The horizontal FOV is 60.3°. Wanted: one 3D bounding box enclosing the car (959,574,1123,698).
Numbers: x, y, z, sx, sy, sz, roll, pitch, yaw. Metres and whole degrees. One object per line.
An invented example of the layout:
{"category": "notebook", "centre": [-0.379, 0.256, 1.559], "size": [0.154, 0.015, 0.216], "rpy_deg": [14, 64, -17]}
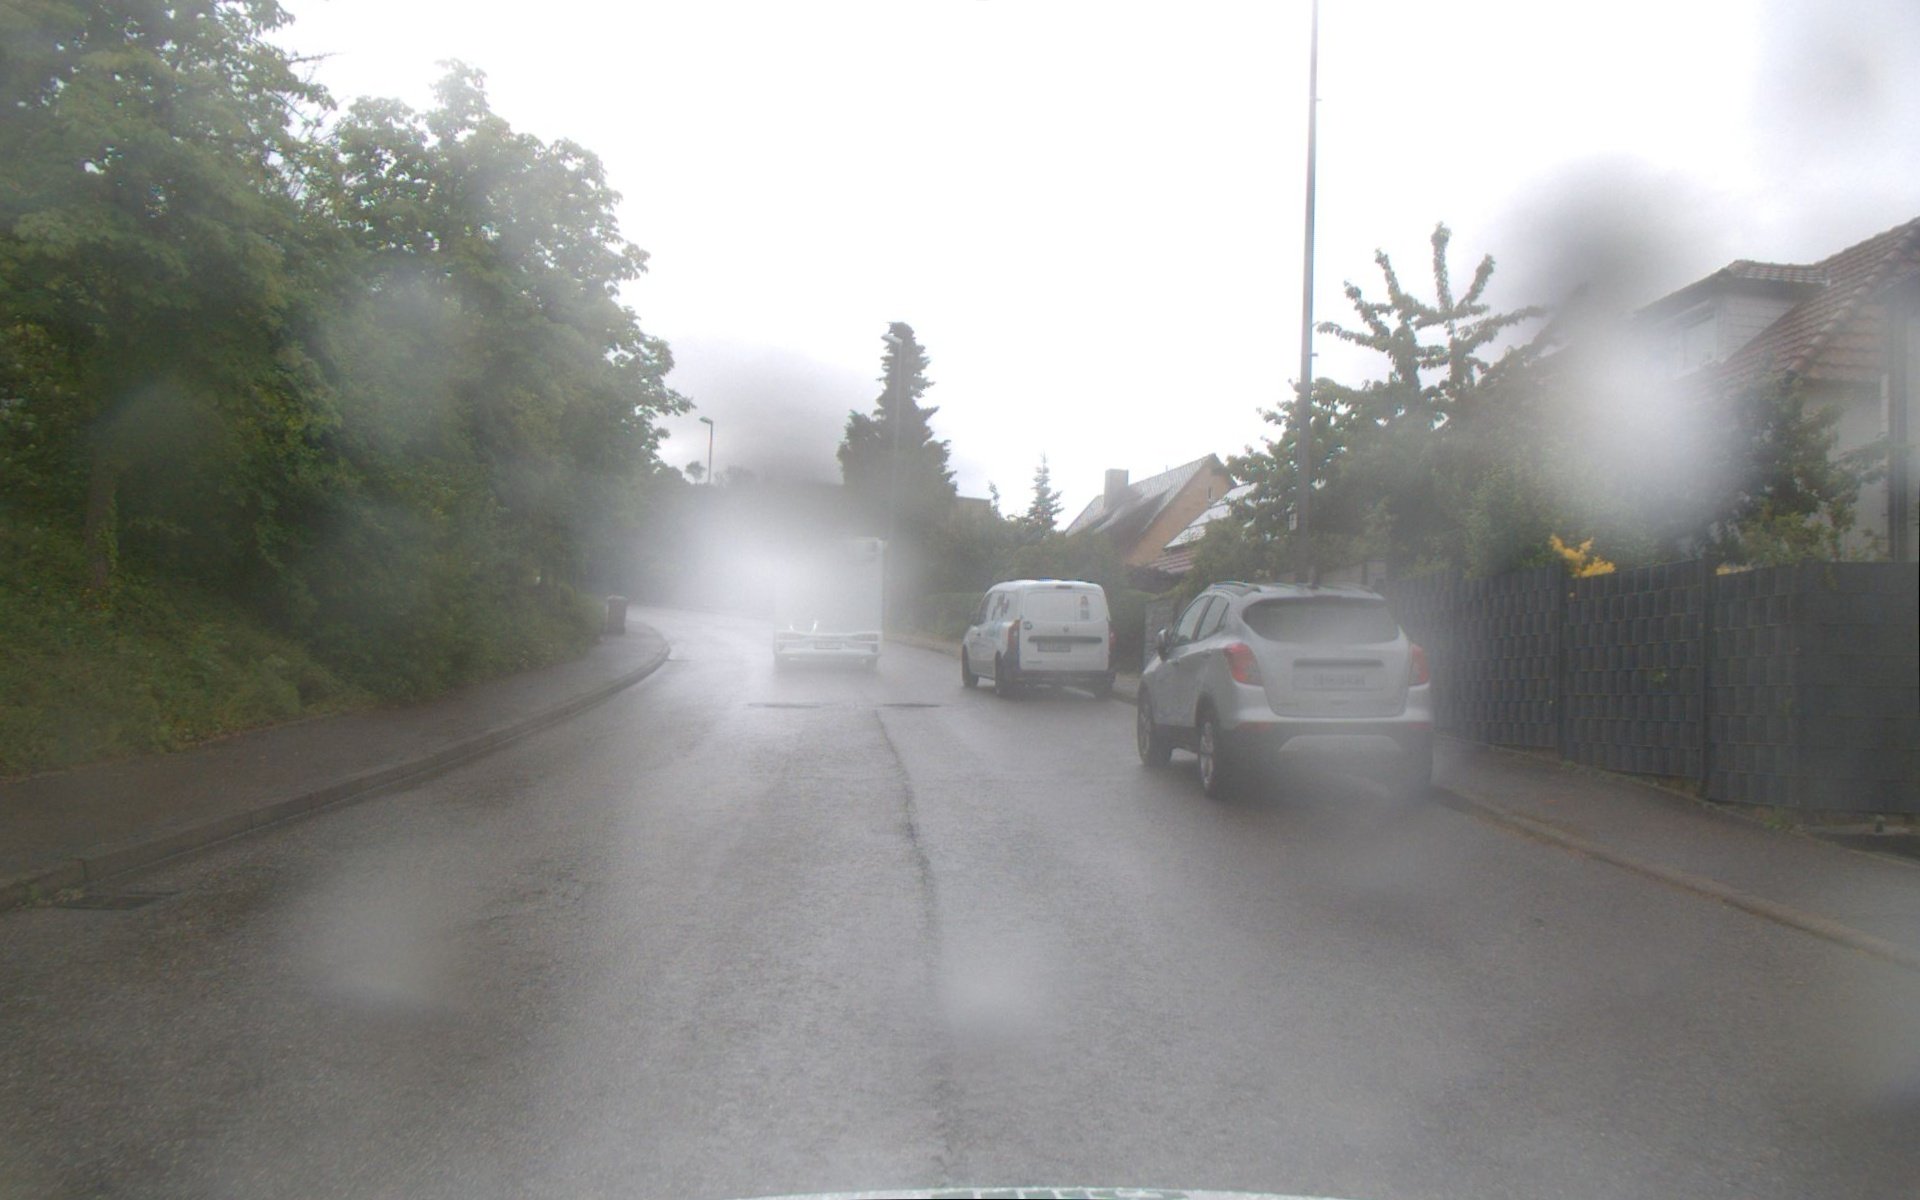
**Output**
{"category": "car", "centre": [1.223, 0.555, 27.171], "size": [1.746, 1.835, 4.697], "rpy_deg": [1, 0, -9]}

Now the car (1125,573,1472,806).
{"category": "car", "centre": [2.685, 0.650, 14.170], "size": [1.769, 1.655, 4.283], "rpy_deg": [-1, 0, -5]}

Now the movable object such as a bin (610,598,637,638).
{"category": "movable object such as a bin", "centre": [-10.132, 0.541, 49.766], "size": [0.681, 1.109, 0.802], "rpy_deg": [4, 3, -8]}

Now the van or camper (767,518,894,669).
{"category": "van or camper", "centre": [-2.915, -0.112, 36.020], "size": [2.491, 2.976, 5.939], "rpy_deg": [1, 0, -7]}
